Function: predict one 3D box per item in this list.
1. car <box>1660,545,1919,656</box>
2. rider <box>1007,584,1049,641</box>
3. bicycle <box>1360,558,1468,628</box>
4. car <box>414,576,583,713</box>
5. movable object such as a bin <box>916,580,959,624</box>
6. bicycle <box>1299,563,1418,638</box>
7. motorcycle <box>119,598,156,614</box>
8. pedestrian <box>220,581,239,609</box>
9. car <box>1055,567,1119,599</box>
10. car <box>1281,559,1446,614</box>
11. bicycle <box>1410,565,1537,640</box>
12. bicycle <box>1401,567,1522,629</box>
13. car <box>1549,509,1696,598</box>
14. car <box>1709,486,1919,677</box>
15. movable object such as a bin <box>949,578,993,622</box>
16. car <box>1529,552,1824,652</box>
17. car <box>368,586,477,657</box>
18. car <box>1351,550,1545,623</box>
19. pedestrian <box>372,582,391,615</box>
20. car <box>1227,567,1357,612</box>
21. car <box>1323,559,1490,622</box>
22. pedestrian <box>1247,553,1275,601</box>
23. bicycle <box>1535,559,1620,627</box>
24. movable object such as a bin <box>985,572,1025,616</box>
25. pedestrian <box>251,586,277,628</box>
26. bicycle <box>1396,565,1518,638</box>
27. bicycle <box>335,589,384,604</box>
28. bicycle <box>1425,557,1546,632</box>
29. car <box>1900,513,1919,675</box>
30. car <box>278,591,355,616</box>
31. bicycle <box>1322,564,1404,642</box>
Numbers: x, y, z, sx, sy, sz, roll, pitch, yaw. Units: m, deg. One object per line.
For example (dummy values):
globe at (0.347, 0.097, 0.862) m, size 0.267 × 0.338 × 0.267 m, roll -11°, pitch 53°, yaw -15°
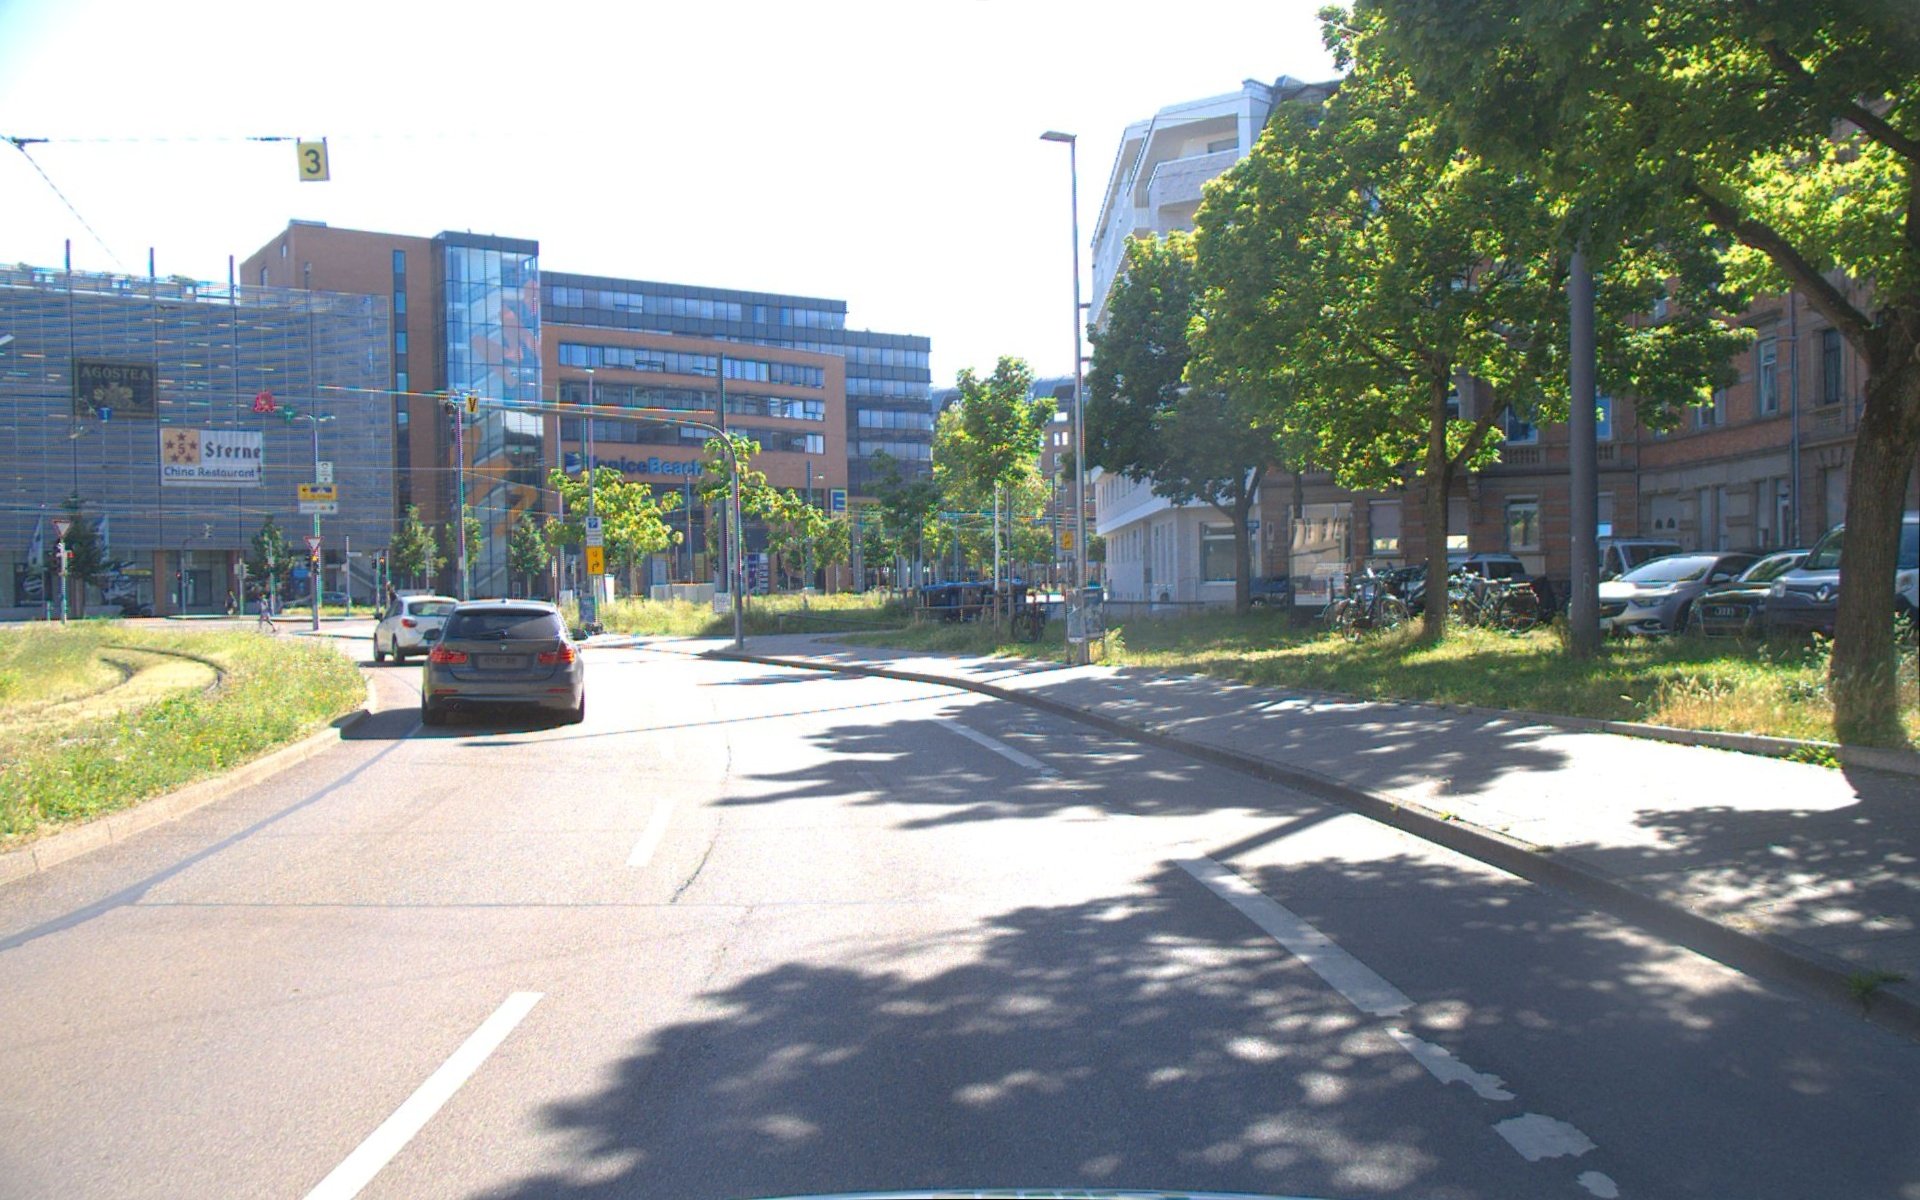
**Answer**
car at (11.640, -0.029, 22.958) m, size 3.570 × 1.404 × 1.903 m, roll -2°, pitch 1°, yaw -33°
rider at (1.519, 0.261, 36.595) m, size 0.491 × 1.196 × 1.677 m, roll -1°, pitch 1°, yaw 18°
bicycle at (9.583, -0.145, 34.906) m, size 2.055 × 1.423 × 0.785 m, roll -1°, pitch 0°, yaw -11°
car at (-5.485, 0.524, 20.096) m, size 1.704 × 1.448 × 4.453 m, roll 1°, pitch -1°, yaw -13°
movable object such as a bin at (-0.748, 0.053, 55.407) m, size 1.046 × 1.423 × 1.304 m, roll -1°, pitch 1°, yaw 20°
bicycle at (7.648, 0.011, 31.792) m, size 2.052 × 1.388 × 0.786 m, roll -1°, pitch 0°, yaw -5°
motorcycle at (-57.372, 0.394, 115.372) m, size 2.187 × 1.061 × 1.047 m, roll 0°, pitch 0°, yaw -38°
pedestrian at (-47.343, -0.311, 107.192) m, size 0.850 × 1.768 × 0.741 m, roll -1°, pitch 0°, yaw -44°
car at (8.542, -1.124, 111.010) m, size 3.902 × 2.049 × 2.001 m, roll -1°, pitch 0°, yaw 16°
car at (10.733, -0.369, 43.976) m, size 3.989 × 1.360 × 1.827 m, roll -1°, pitch 1°, yaw -23°
bicycle at (9.003, 0.039, 29.060) m, size 1.905 × 1.201 × 0.900 m, roll -3°, pitch 0°, yaw 0°
bicycle at (9.874, -0.040, 32.596) m, size 2.119 × 1.178 × 0.822 m, roll -1°, pitch 0°, yaw -4°
car at (19.612, -1.365, 49.240) m, size 2.300 × 2.398 × 5.189 m, roll -3°, pitch 1°, yaw 1°
car at (11.444, -0.299, 20.005) m, size 4.822 × 2.048 × 2.076 m, roll -4°, pitch 1°, yaw -34°
movable object such as a bin at (0.381, 0.002, 55.390) m, size 1.084 × 1.423 × 1.321 m, roll -1°, pitch 1°, yaw 20°
car at (11.267, -0.015, 25.907) m, size 4.694 × 1.404 × 2.022 m, roll -2°, pitch 1°, yaw -34°
car at (-11.721, 0.471, 35.927) m, size 1.613 × 1.448 × 3.747 m, roll 2°, pitch -1°, yaw -28°
car at (11.493, -0.332, 38.869) m, size 4.411 × 1.593 × 1.918 m, roll -1°, pitch 1°, yaw -31°
pedestrian at (-31.131, -0.089, 89.001) m, size 0.801 × 1.738 × 0.751 m, roll -1°, pitch 0°, yaw -38°
car at (11.479, -0.353, 57.207) m, size 4.015 × 1.461 × 1.998 m, roll -1°, pitch 0°, yaw 28°
car at (11.251, -0.250, 41.747) m, size 3.776 × 1.466 × 1.749 m, roll -1°, pitch 1°, yaw -21°
pedestrian at (10.361, -0.793, 56.883) m, size 0.630 × 1.604 × 0.768 m, roll -1°, pitch 0°, yaw 38°
bicycle at (13.191, -0.159, 35.290) m, size 2.081 × 1.388 × 0.776 m, roll -1°, pitch 0°, yaw -41°
movable object such as a bin at (1.515, -0.208, 55.187) m, size 1.007 × 1.423 × 1.091 m, roll -1°, pitch 1°, yaw 21°
pedestrian at (-29.851, 0.295, 70.918) m, size 0.879 × 1.737 × 0.703 m, roll -1°, pitch 0°, yaw -38°
bicycle at (8.999, 0.017, 30.015) m, size 1.917 × 1.212 × 0.841 m, roll -3°, pitch 0°, yaw 0°
bicycle at (-45.387, -0.287, 124.993) m, size 3.328 × 1.096 × 1.105 m, roll 0°, pitch 0°, yaw -32°
bicycle at (10.043, -0.109, 31.644) m, size 2.052 × 1.388 × 0.786 m, roll -1°, pitch 0°, yaw -5°
car at (12.421, -0.208, 17.506) m, size 4.812 × 1.676 × 2.080 m, roll -3°, pitch 0°, yaw -29°
car at (-42.045, 0.228, 108.110) m, size 4.455 × 1.521 × 1.474 m, roll -2°, pitch 1°, yaw -38°
bicycle at (7.177, 0.046, 29.395) m, size 0.756 × 1.312 × 1.589 m, roll -2°, pitch 1°, yaw 40°
